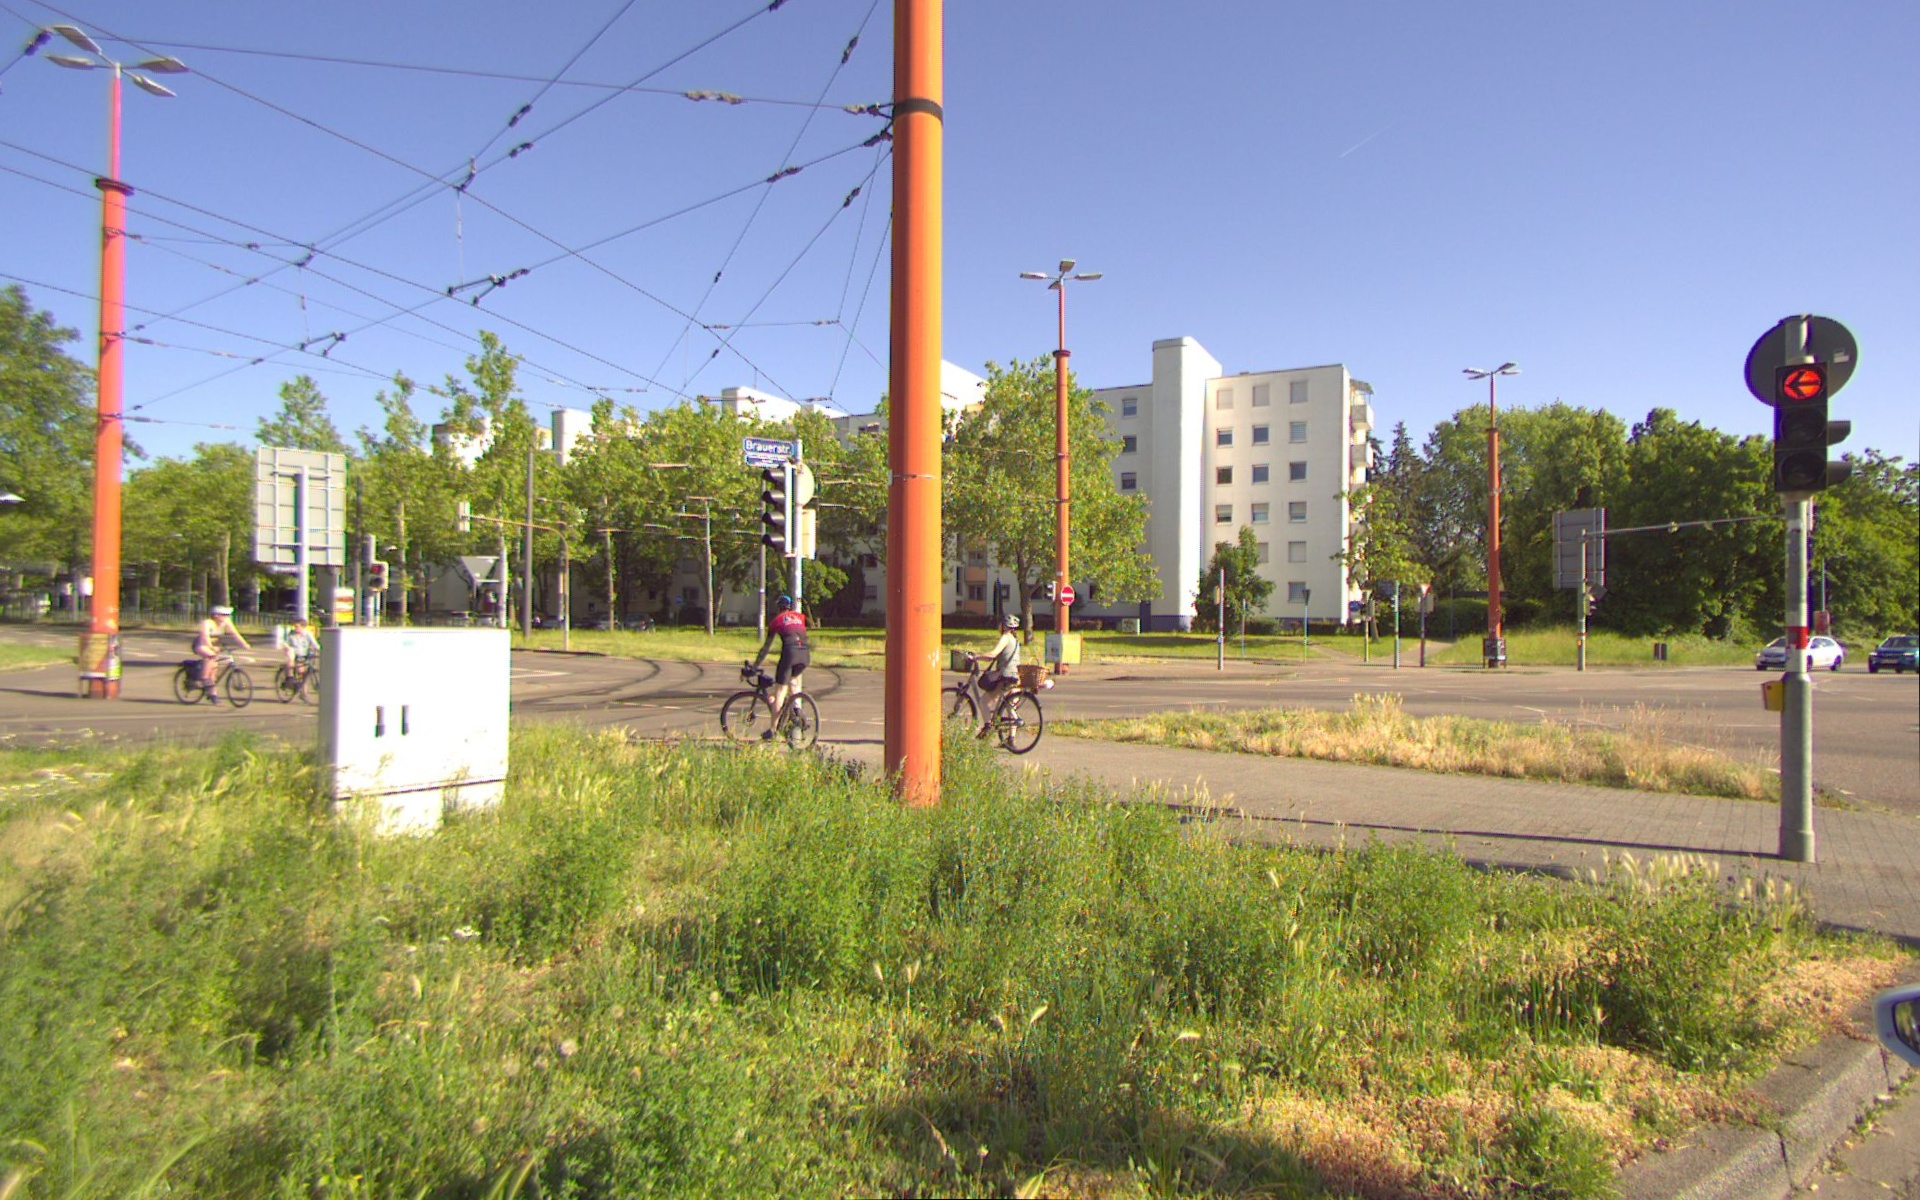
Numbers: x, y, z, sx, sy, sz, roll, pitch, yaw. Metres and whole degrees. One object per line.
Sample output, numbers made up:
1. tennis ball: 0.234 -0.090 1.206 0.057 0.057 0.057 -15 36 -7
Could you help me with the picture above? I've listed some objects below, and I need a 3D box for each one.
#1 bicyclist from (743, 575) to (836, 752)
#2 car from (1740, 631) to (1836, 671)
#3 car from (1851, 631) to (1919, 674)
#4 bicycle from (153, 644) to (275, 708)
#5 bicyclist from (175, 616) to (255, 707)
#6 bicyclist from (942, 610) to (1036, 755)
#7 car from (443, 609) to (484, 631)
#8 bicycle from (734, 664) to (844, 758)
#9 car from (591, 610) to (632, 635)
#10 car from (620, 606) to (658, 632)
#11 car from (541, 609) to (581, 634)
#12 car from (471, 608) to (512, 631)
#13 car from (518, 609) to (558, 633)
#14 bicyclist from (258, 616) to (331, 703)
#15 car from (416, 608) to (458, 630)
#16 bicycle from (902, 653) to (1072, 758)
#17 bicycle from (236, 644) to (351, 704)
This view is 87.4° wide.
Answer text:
1. bicyclist: -2.065 0.748 12.144 0.921 2.040 0.736 1 -1 -25
2. car: 35.144 2.149 42.611 4.075 1.594 1.983 1 -1 -32
3. car: 37.268 2.036 39.870 4.079 1.594 1.981 2 -1 -35
4. bicycle: -14.028 1.412 18.900 1.849 1.102 0.928 0 -1 18
5. bicyclist: -14.002 1.133 18.901 0.726 1.659 0.934 0 -1 18
6. bicyclist: 0.359 0.956 12.102 0.728 1.659 0.931 0 -1 35
7. car: -42.675 1.699 86.451 1.963 1.840 3.995 1 -1 -8
8. bicycle: -2.115 1.307 12.240 0.915 0.976 1.747 1 -1 -24
9. car: -26.111 1.686 75.333 1.962 1.840 3.997 1 -1 -5
10. car: -23.404 1.398 73.421 1.963 1.840 3.995 1 -1 -8
11. car: -31.194 1.675 78.682 1.963 1.840 3.995 1 -1 -8
12. car: -39.285 1.641 84.329 1.963 1.840 3.995 1 -1 -8
13. car: -33.810 1.670 80.532 1.963 1.840 3.995 1 -1 -8
14. bicyclist: -13.211 1.162 19.972 0.726 1.659 0.934 0 -1 18
15. car: -46.024 1.676 88.480 1.963 1.840 3.995 1 -1 -8
16. bicycle: 0.315 1.226 12.125 1.855 1.102 0.925 0 -1 34
17. bicycle: -13.251 1.442 19.984 1.849 1.102 0.928 0 -1 18
